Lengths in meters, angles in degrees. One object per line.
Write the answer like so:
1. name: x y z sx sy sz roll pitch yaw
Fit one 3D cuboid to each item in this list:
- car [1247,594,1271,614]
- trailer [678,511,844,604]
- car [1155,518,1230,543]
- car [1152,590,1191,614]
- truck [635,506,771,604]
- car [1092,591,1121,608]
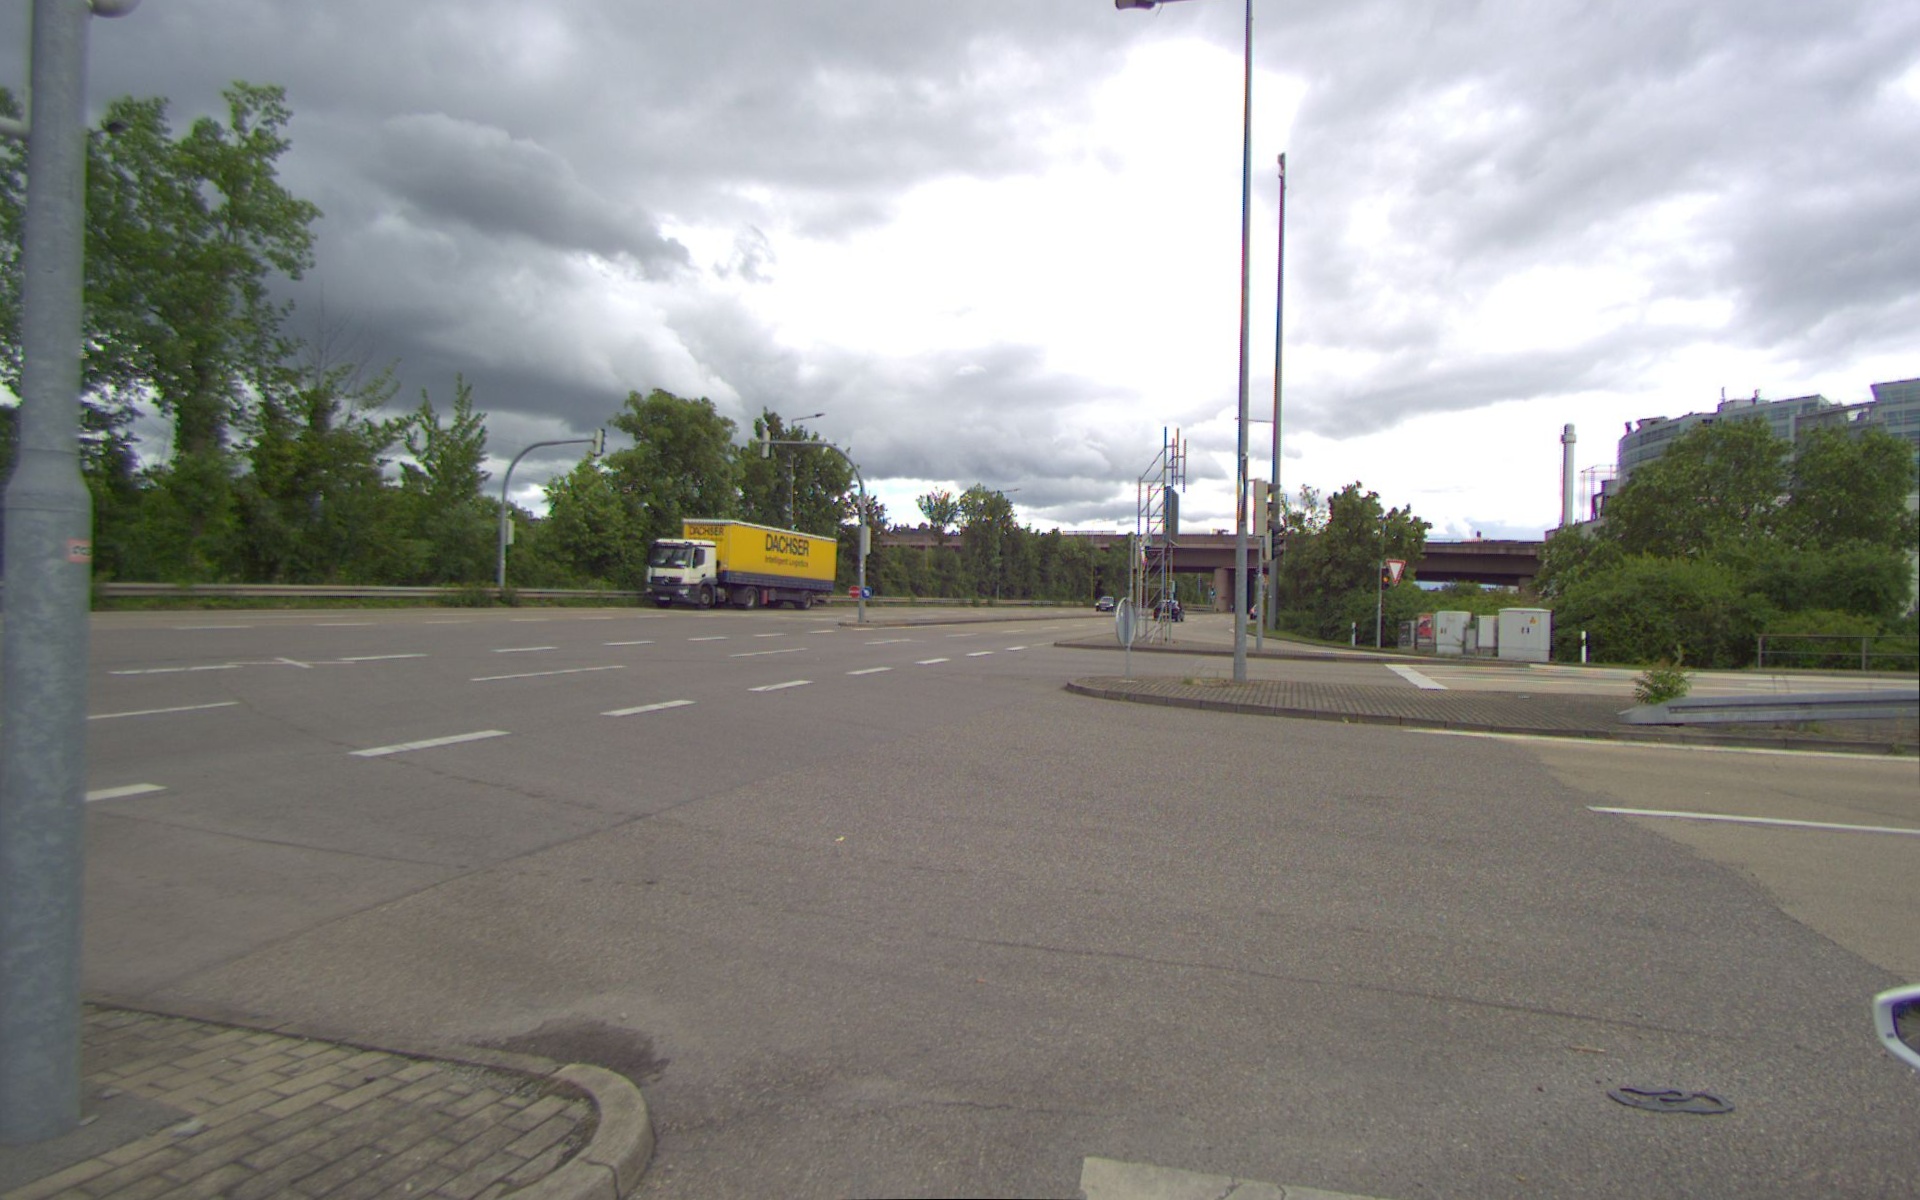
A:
1. car: 28.705 0.370 96.488 1.878 1.684 4.746 5 3 19
2. trailer: -9.918 -2.048 52.103 2.824 4.139 11.425 4 2 19
3. car: 36.891 -11.051 159.579 10.984 3.071 3.477 7 5 38
4. car: 14.668 0.140 69.585 1.878 1.440 3.992 6 3 22
5. truck: -11.809 -2.015 46.873 2.824 4.139 6.486 4 2 19
6. car: 14.667 -0.047 100.435 1.832 1.402 3.866 6 4 22
